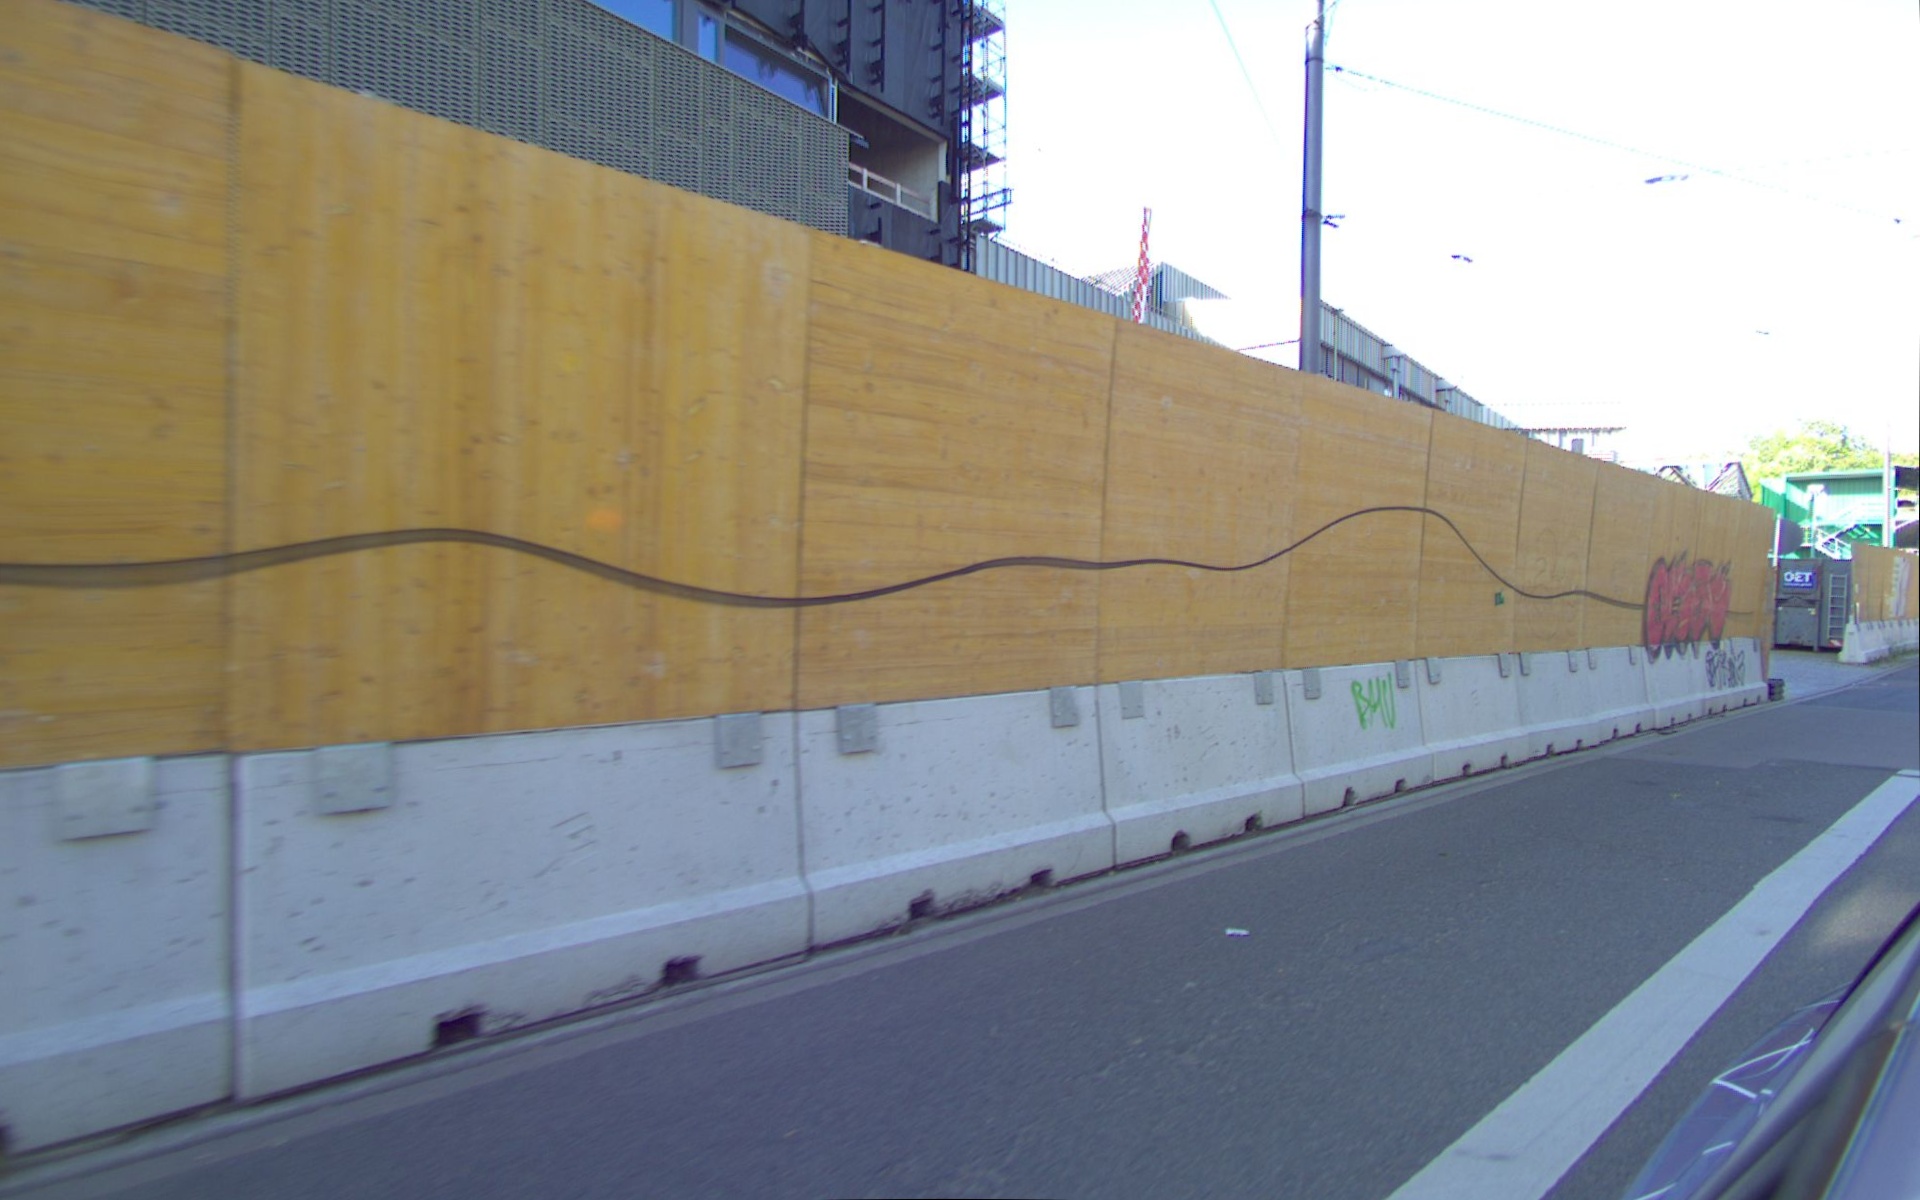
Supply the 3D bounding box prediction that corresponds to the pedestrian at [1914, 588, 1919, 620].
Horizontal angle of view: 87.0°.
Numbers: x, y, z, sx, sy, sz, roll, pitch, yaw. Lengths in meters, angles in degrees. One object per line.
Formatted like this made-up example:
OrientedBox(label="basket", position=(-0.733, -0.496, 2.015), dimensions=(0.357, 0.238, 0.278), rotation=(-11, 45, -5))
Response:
OrientedBox(label="pedestrian", position=(53.576, 0.247, 56.441), dimensions=(0.445, 1.780, 0.373), rotation=(1, 0, 30))
